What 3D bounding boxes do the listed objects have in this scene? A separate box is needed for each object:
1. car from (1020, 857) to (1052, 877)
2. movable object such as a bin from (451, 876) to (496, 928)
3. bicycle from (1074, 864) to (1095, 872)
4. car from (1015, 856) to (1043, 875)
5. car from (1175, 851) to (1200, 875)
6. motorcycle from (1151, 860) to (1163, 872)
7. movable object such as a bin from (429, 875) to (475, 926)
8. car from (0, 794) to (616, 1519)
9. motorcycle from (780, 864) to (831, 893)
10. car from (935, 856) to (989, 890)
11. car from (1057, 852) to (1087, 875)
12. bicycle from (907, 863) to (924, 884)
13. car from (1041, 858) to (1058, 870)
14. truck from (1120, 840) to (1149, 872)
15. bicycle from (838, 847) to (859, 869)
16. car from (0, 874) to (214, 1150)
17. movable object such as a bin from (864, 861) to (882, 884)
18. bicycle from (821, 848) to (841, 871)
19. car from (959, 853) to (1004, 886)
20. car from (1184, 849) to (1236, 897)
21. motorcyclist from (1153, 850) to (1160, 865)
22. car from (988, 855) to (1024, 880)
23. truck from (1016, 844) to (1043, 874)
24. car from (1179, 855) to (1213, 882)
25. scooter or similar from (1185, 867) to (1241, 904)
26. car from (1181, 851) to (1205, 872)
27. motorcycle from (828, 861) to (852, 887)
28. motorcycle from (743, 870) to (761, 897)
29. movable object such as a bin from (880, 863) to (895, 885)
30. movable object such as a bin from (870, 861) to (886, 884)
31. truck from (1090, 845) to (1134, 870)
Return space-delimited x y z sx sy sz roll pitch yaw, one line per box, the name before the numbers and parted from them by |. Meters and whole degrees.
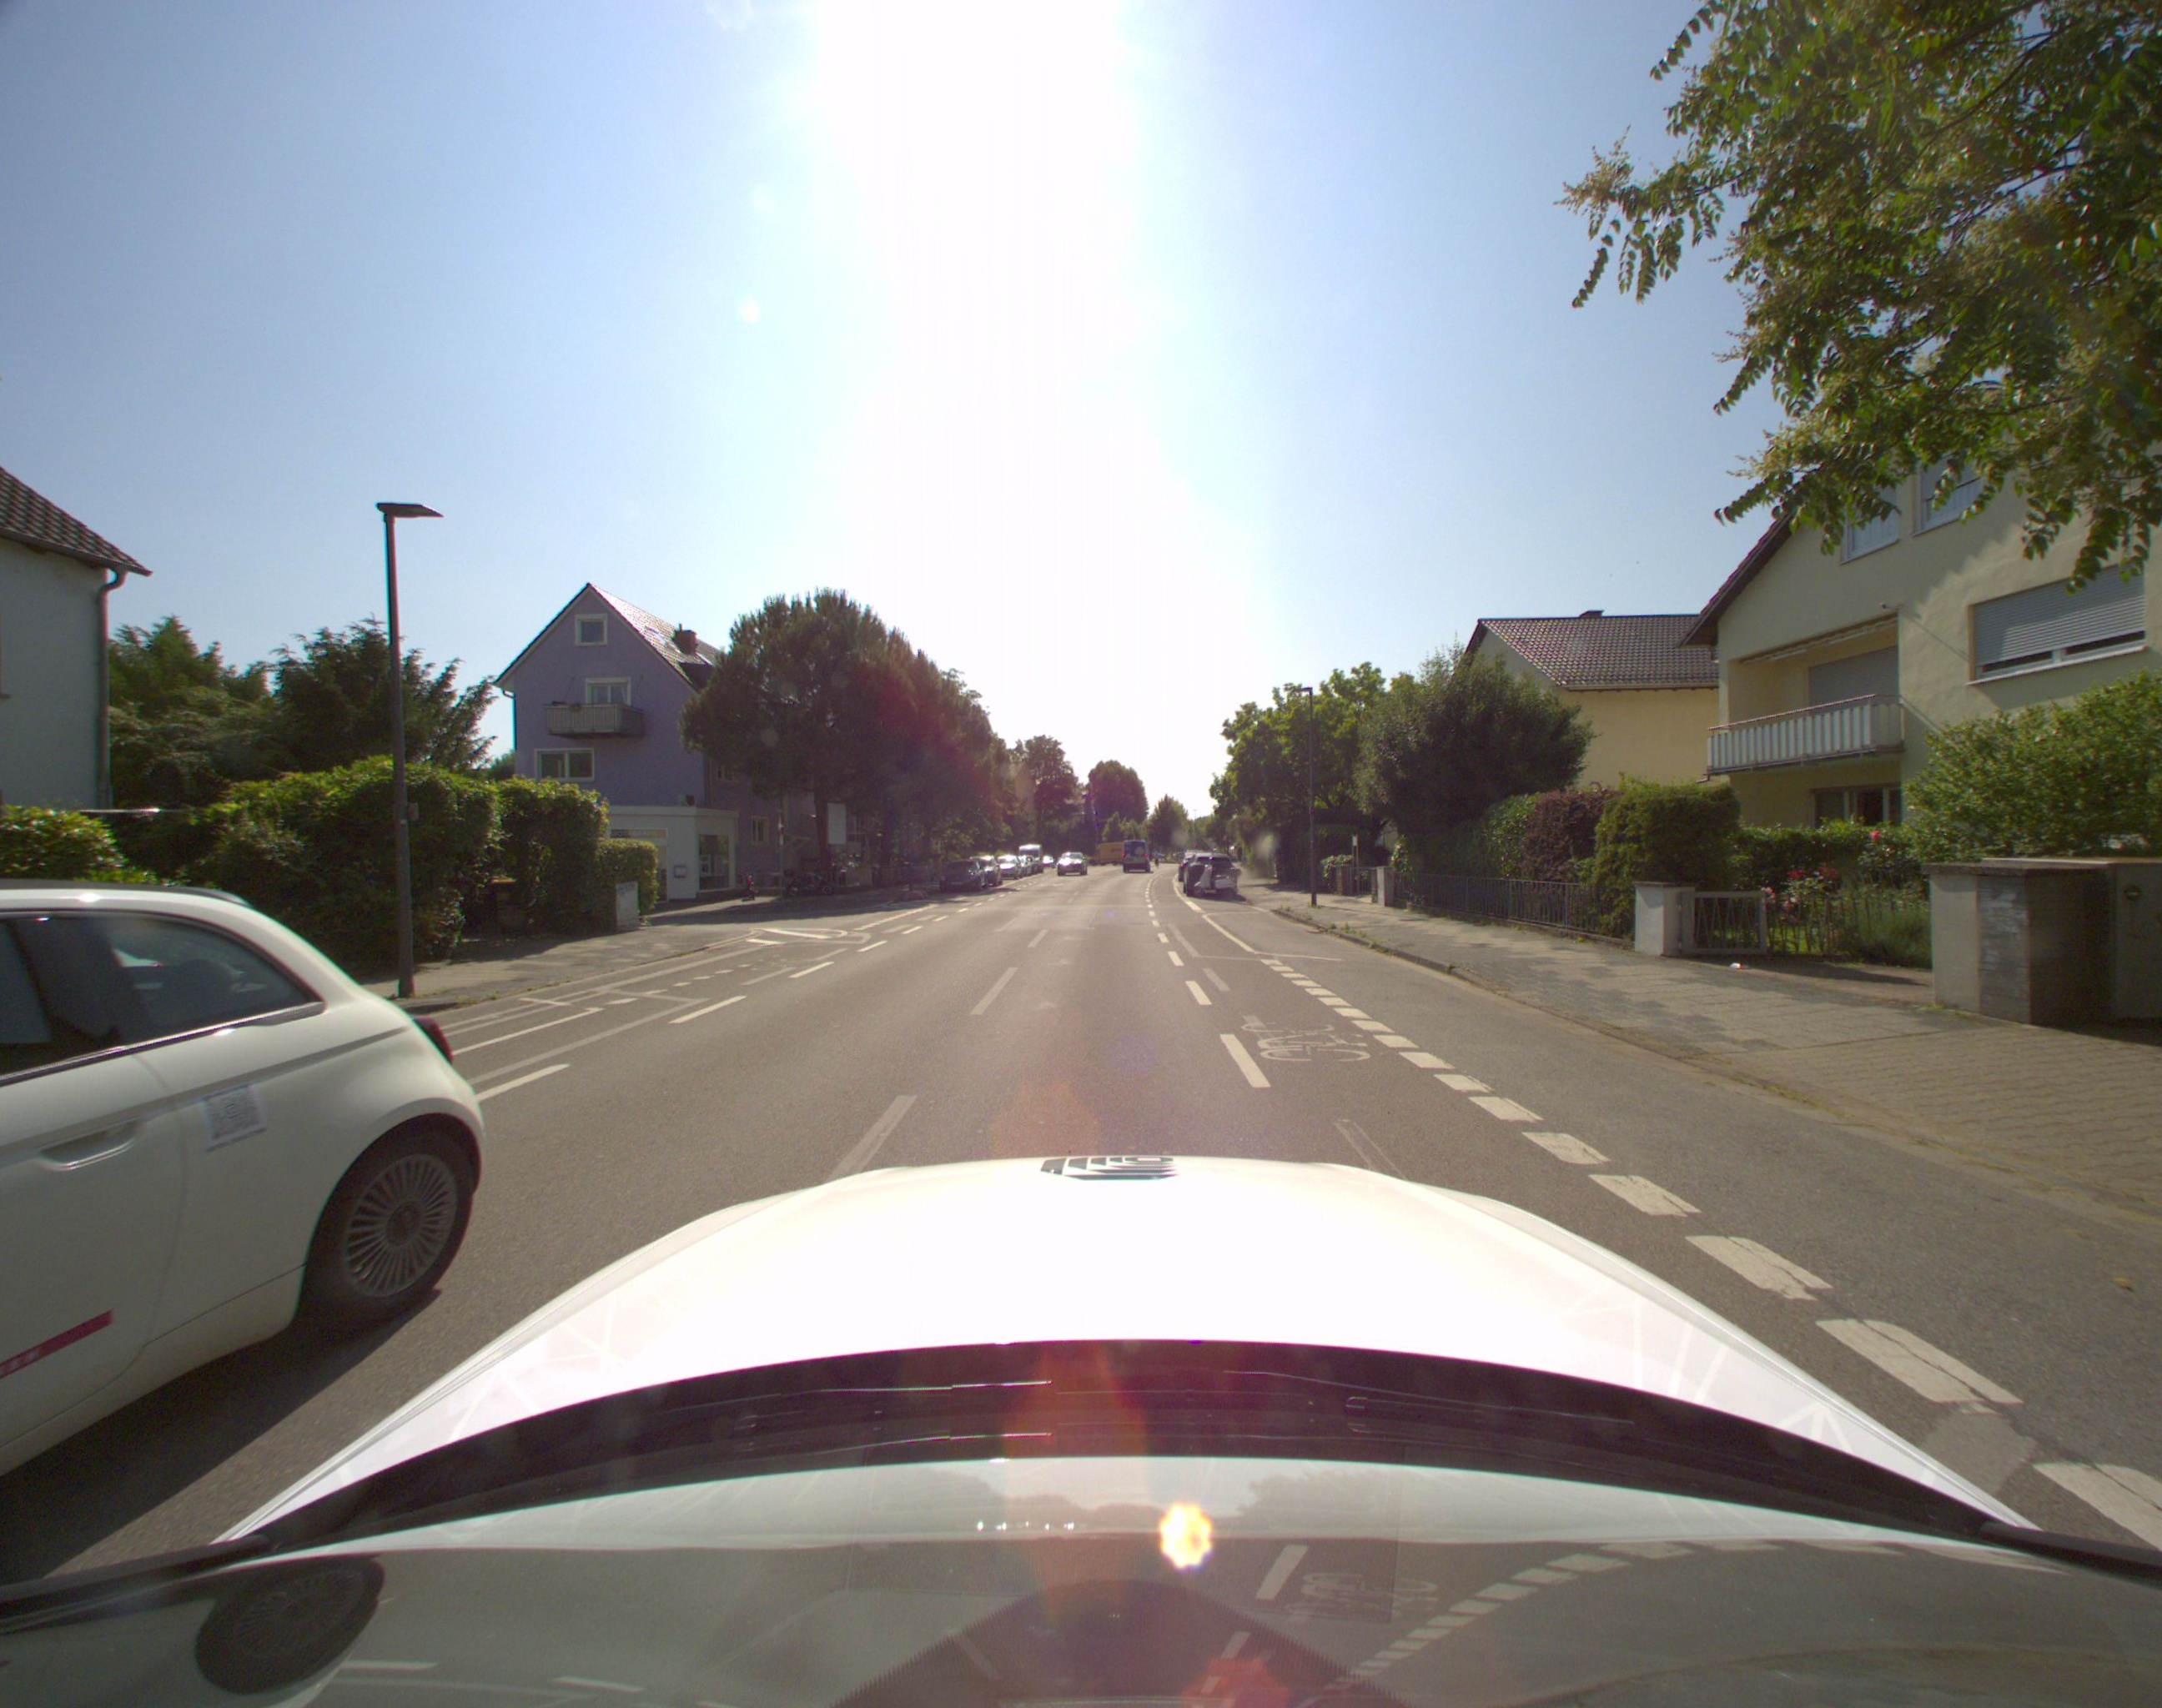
car | -3.324 0.949 60.657 1.826 1.496 3.659 0 0 6
movable object such as a bin | -12.069 0.939 16.187 0.479 0.990 0.531 0 -1 22
bicycle | 0.468 1.841 109.395 2.685 1.048 1.024 0 -1 -7
car | -4.152 0.891 65.355 1.747 1.496 3.657 0 -1 3
car | 7.925 0.660 60.289 1.690 1.677 3.784 0 0 9
motorcycle | 7.762 1.223 83.419 1.052 1.122 2.993 0 -1 2
movable object such as a bin | -12.619 0.928 16.335 0.479 0.990 0.531 0 -1 22
car | -3.168 0.661 1.958 1.726 1.541 4.000 -1 -1 1
motorcycle | -11.212 0.991 33.179 1.829 1.182 0.644 0 -1 6
car | -5.462 0.857 37.807 1.774 1.460 4.086 -2 0 1
car | -0.664 0.684 61.145 1.985 1.657 4.607 0 0 3
bicycle | -9.008 1.051 44.299 0.371 1.146 1.979 0 -1 4
car | -3.596 1.188 93.395 1.748 1.343 3.653 0 0 0
truck | 4.429 0.166 67.243 2.262 2.571 4.397 0 -1 4
bicycle | -12.529 0.238 43.847 0.534 1.182 1.449 0 -1 7
car | -6.609 0.870 3.322 1.779 1.440 4.000 -3 -1 1
movable object such as a bin | -9.903 0.888 38.821 0.602 1.111 0.664 0 -1 7
bicycle | -13.220 0.292 43.128 0.534 1.181 1.448 0 1 3
car | -5.266 0.779 43.561 1.903 1.677 4.257 -1 0 0
car | 4.960 0.688 31.176 1.774 1.638 4.482 2 0 9
motorcyclist | 7.730 0.400 83.431 0.669 1.519 0.653 0 -1 2
car | -4.966 0.917 54.619 1.827 1.595 3.778 0 -1 3
truck | -4.469 0.429 71.148 2.074 2.537 5.464 0 0 -1
car | 6.446 0.804 46.055 1.775 1.399 4.332 0 -1 7
scooter or similar | 4.578 1.094 28.310 0.724 1.154 1.775 5 -1 -44
car | 8.993 0.616 65.373 1.692 1.677 3.779 0 -1 5
motorcycle | -11.440 0.940 38.752 0.534 1.182 1.449 0 -1 7
motorcycle | -13.048 1.142 32.315 0.643 0.991 2.339 1 0 -21
movable object such as a bin | -9.605 0.991 40.505 0.541 1.111 0.586 0 -1 7
movable object such as a bin | -9.832 0.890 39.392 0.602 1.111 0.432 0 -1 7
truck | 3.848 0.457 101.347 2.233 2.946 5.617 1 -1 -42
